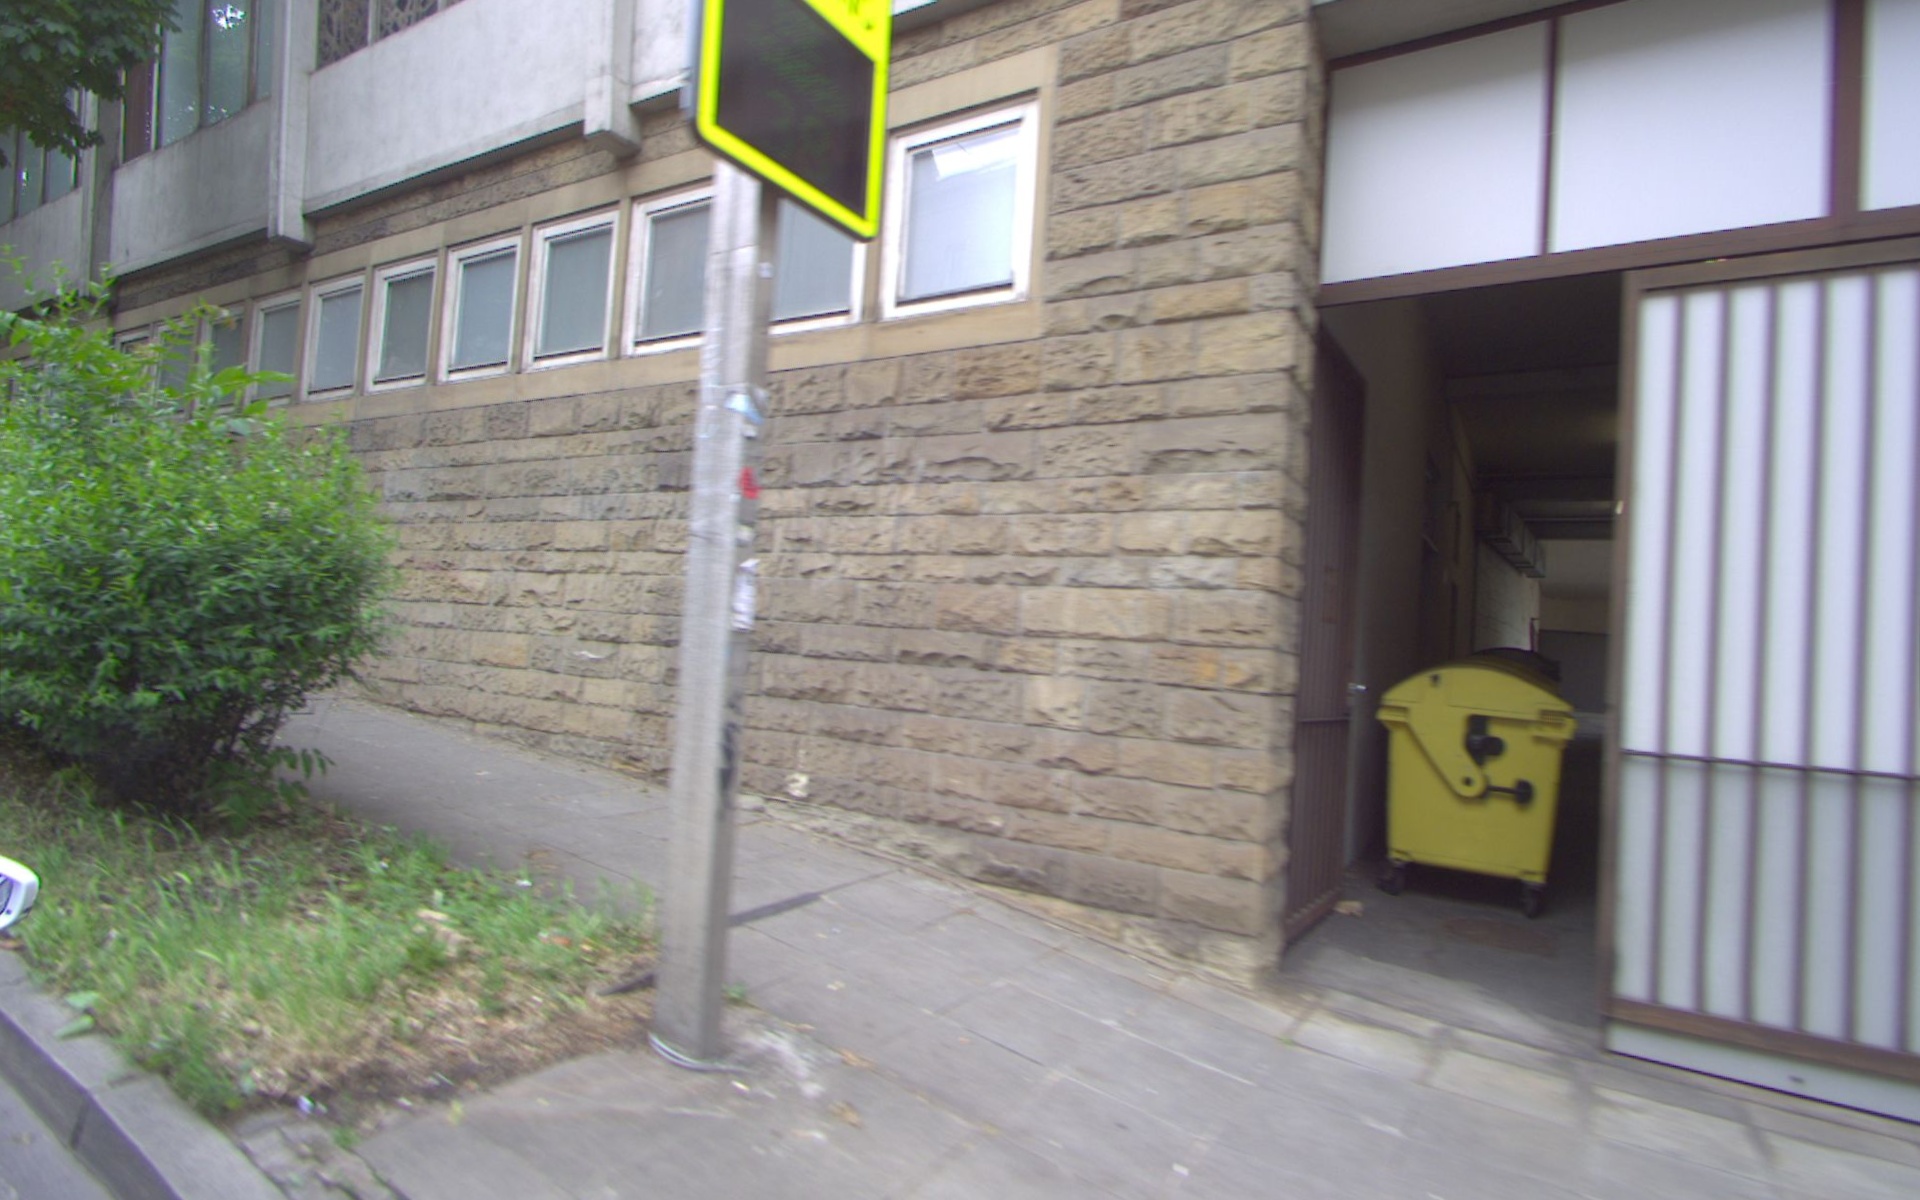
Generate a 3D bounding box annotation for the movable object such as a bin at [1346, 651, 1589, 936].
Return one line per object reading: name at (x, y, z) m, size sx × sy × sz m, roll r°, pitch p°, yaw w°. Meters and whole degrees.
movable object such as a bin at (3.257, 1.117, 6.475) m, size 1.185 × 1.480 × 1.427 m, roll 3°, pitch 1°, yaw 29°

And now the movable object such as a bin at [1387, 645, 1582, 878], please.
movable object such as a bin at (4.033, 1.147, 7.762) m, size 1.138 × 1.488 × 1.427 m, roll 4°, pitch 1°, yaw 29°

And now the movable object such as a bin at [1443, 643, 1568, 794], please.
movable object such as a bin at (6.180, 1.279, 11.427) m, size 1.089 × 1.491 × 1.427 m, roll 4°, pitch 1°, yaw 29°
